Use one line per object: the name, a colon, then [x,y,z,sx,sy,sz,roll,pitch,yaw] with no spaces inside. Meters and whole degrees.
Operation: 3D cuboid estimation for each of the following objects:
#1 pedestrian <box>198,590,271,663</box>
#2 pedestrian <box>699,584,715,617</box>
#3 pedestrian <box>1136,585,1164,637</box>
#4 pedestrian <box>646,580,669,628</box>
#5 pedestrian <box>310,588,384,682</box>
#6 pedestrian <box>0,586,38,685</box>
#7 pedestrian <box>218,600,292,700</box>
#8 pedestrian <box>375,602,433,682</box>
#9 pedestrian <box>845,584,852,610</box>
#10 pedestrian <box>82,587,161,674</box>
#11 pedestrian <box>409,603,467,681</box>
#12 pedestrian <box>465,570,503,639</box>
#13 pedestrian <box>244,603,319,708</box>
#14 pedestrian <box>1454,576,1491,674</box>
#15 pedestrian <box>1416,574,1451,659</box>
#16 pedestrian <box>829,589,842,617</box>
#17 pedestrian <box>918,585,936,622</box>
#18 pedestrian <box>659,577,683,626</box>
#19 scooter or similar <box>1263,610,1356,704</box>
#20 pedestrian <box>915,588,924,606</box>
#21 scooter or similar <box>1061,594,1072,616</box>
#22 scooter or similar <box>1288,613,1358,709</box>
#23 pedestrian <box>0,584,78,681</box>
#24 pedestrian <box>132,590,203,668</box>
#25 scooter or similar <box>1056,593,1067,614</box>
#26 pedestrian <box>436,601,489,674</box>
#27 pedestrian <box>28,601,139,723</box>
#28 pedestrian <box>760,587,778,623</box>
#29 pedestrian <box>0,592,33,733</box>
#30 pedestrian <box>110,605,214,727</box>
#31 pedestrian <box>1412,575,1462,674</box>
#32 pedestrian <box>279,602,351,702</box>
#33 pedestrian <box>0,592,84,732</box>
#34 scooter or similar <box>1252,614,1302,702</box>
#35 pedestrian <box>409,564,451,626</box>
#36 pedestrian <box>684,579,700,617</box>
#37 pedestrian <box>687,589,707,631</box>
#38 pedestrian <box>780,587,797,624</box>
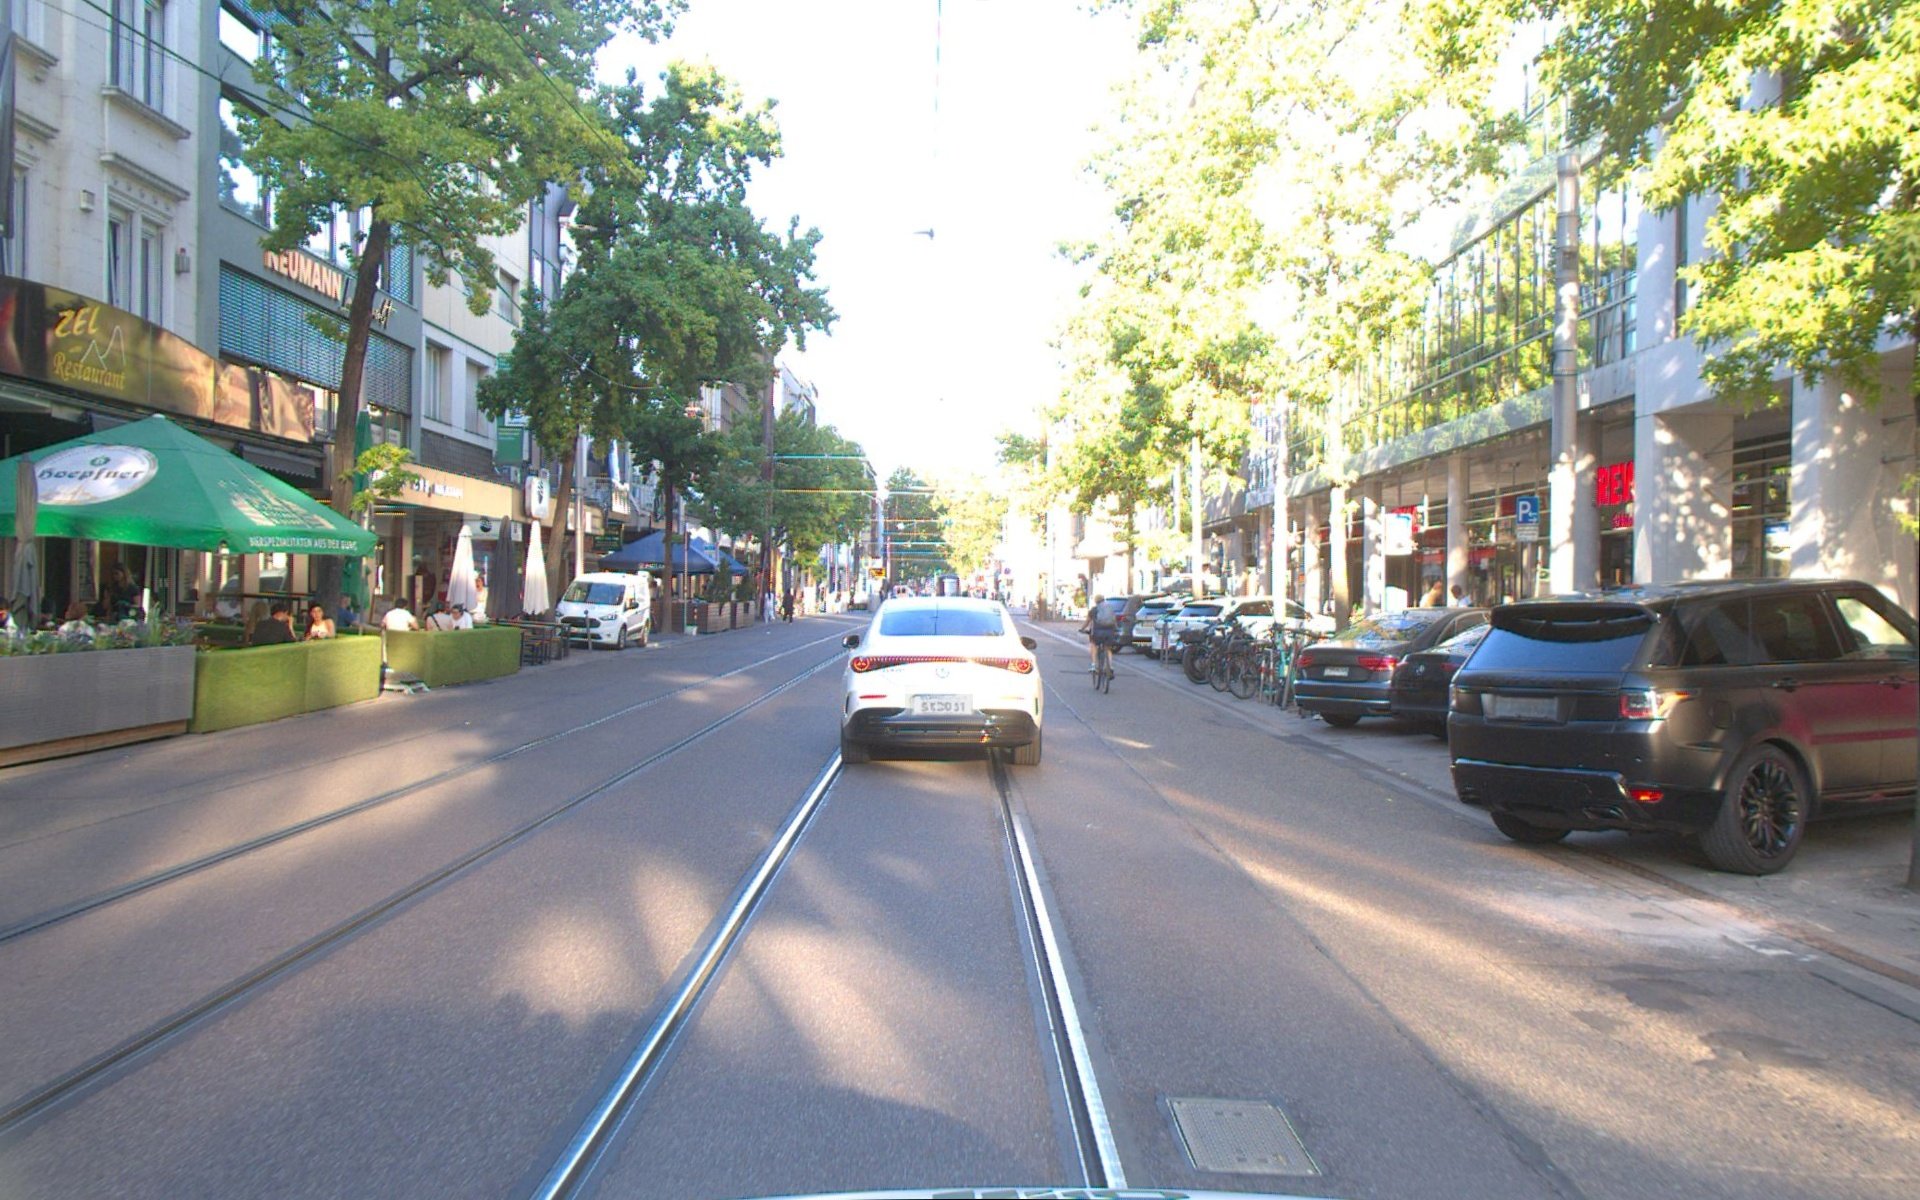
pedestrian: [-12.598,0.446,28.749,0.737,1.209,1.065,3,0,-1]
pedestrian: [-11.909,0.026,77.959,0.585,1.559,0.671,2,0,0]
pedestrian: [6.395,0.370,55.649,0.667,1.715,0.694,-2,0,33]
pedestrian: [-10.519,0.127,57.527,0.659,1.635,0.719,1,0,-1]
pedestrian: [-9.400,0.525,25.400,0.739,1.367,0.872,3,0,-1]
pedestrian: [-12.684,0.443,21.647,0.721,1.253,0.788,3,0,-1]
pedestrian: [-9.326,0.653,21.898,0.606,1.266,0.697,3,0,-1]
pedestrian: [-9.511,0.711,28.316,0.643,1.315,0.798,3,0,-1]
pedestrian: [-8.728,-0.241,129.532,0.527,1.962,0.573,0,0,3]
pedestrian: [-12.548,0.447,24.768,0.721,1.235,0.788,3,0,-1]
pedestrian: [-8.894,0.704,28.216,0.643,1.266,0.872,3,0,-1]
pedestrian: [-11.421,0.104,39.712,0.634,1.601,0.700,3,0,-1]
pedestrian: [-8.596,0.692,20.975,0.606,1.266,0.697,3,0,-1]
pedestrian: [9.159,0.442,29.586,0.506,1.726,0.550,1,0,4]
pedestrian: [10.128,0.349,35.367,0.545,1.781,0.525,-2,0,0]
pedestrian: [-8.193,0.179,109.201,0.771,1.832,0.844,1,0,1]
pedestrian: [-1.685,0.161,83.630,0.824,1.832,0.790,2,0,1]
pedestrian: [-10.376,0.049,59.342,0.703,1.755,0.675,1,0,-1]
scooter or similar: [5.228,0.844,24.726,1.290,1.298,0.558,-3,0,-32]
pedestrian: [-4.064,-0.318,166.026,0.784,1.813,0.849,2,0,-2]
scooter or similar: [6.516,0.296,101.303,0.482,1.299,0.658,-1,0,-11]
scooter or similar: [5.275,0.877,23.993,0.449,1.298,1.302,-3,0,36]
pedestrian: [-12.791,0.432,22.735,0.761,1.258,0.945,3,0,-1]
pedestrian: [-12.554,0.450,26.211,0.686,1.188,0.788,3,0,-1]
scooter or similar: [6.237,0.219,101.875,0.518,1.299,0.658,-1,0,-11]
pedestrian: [-8.761,0.650,29.147,0.643,1.214,0.798,3,0,-1]
pedestrian: [-9.607,0.666,18.149,0.693,1.281,0.869,2,0,2]
pedestrian: [-8.245,0.218,71.542,0.609,1.535,0.833,3,0,0]
pedestrian: [-9.533,0.592,15.956,0.675,1.334,0.807,2,0,0]
pedestrian: [-8.726,0.707,18.110,0.693,1.281,0.772,2,0,2]
pedestrian: [8.435,0.431,29.252,0.667,1.726,0.548,1,0,-13]
pedestrian: [-8.536,0.676,21.912,0.606,1.266,0.697,3,0,-1]
pedestrian: [-9.505,0.614,16.833,0.693,1.371,0.781,2,0,2]
scooter or similar: [4.907,0.880,25.667,0.441,1.298,1.306,-3,0,-1]
pedestrian: [-13.303,-0.119,41.544,0.754,1.492,0.764,3,0,-3]
pedestrian: [-12.629,-0.103,78.044,0.585,1.775,0.671,2,0,0]
pedestrian: [-8.786,0.326,55.328,0.538,1.380,0.582,1,0,-1]
pedestrian: [-7.475,0.229,72.102,0.609,1.577,0.852,3,0,0]
